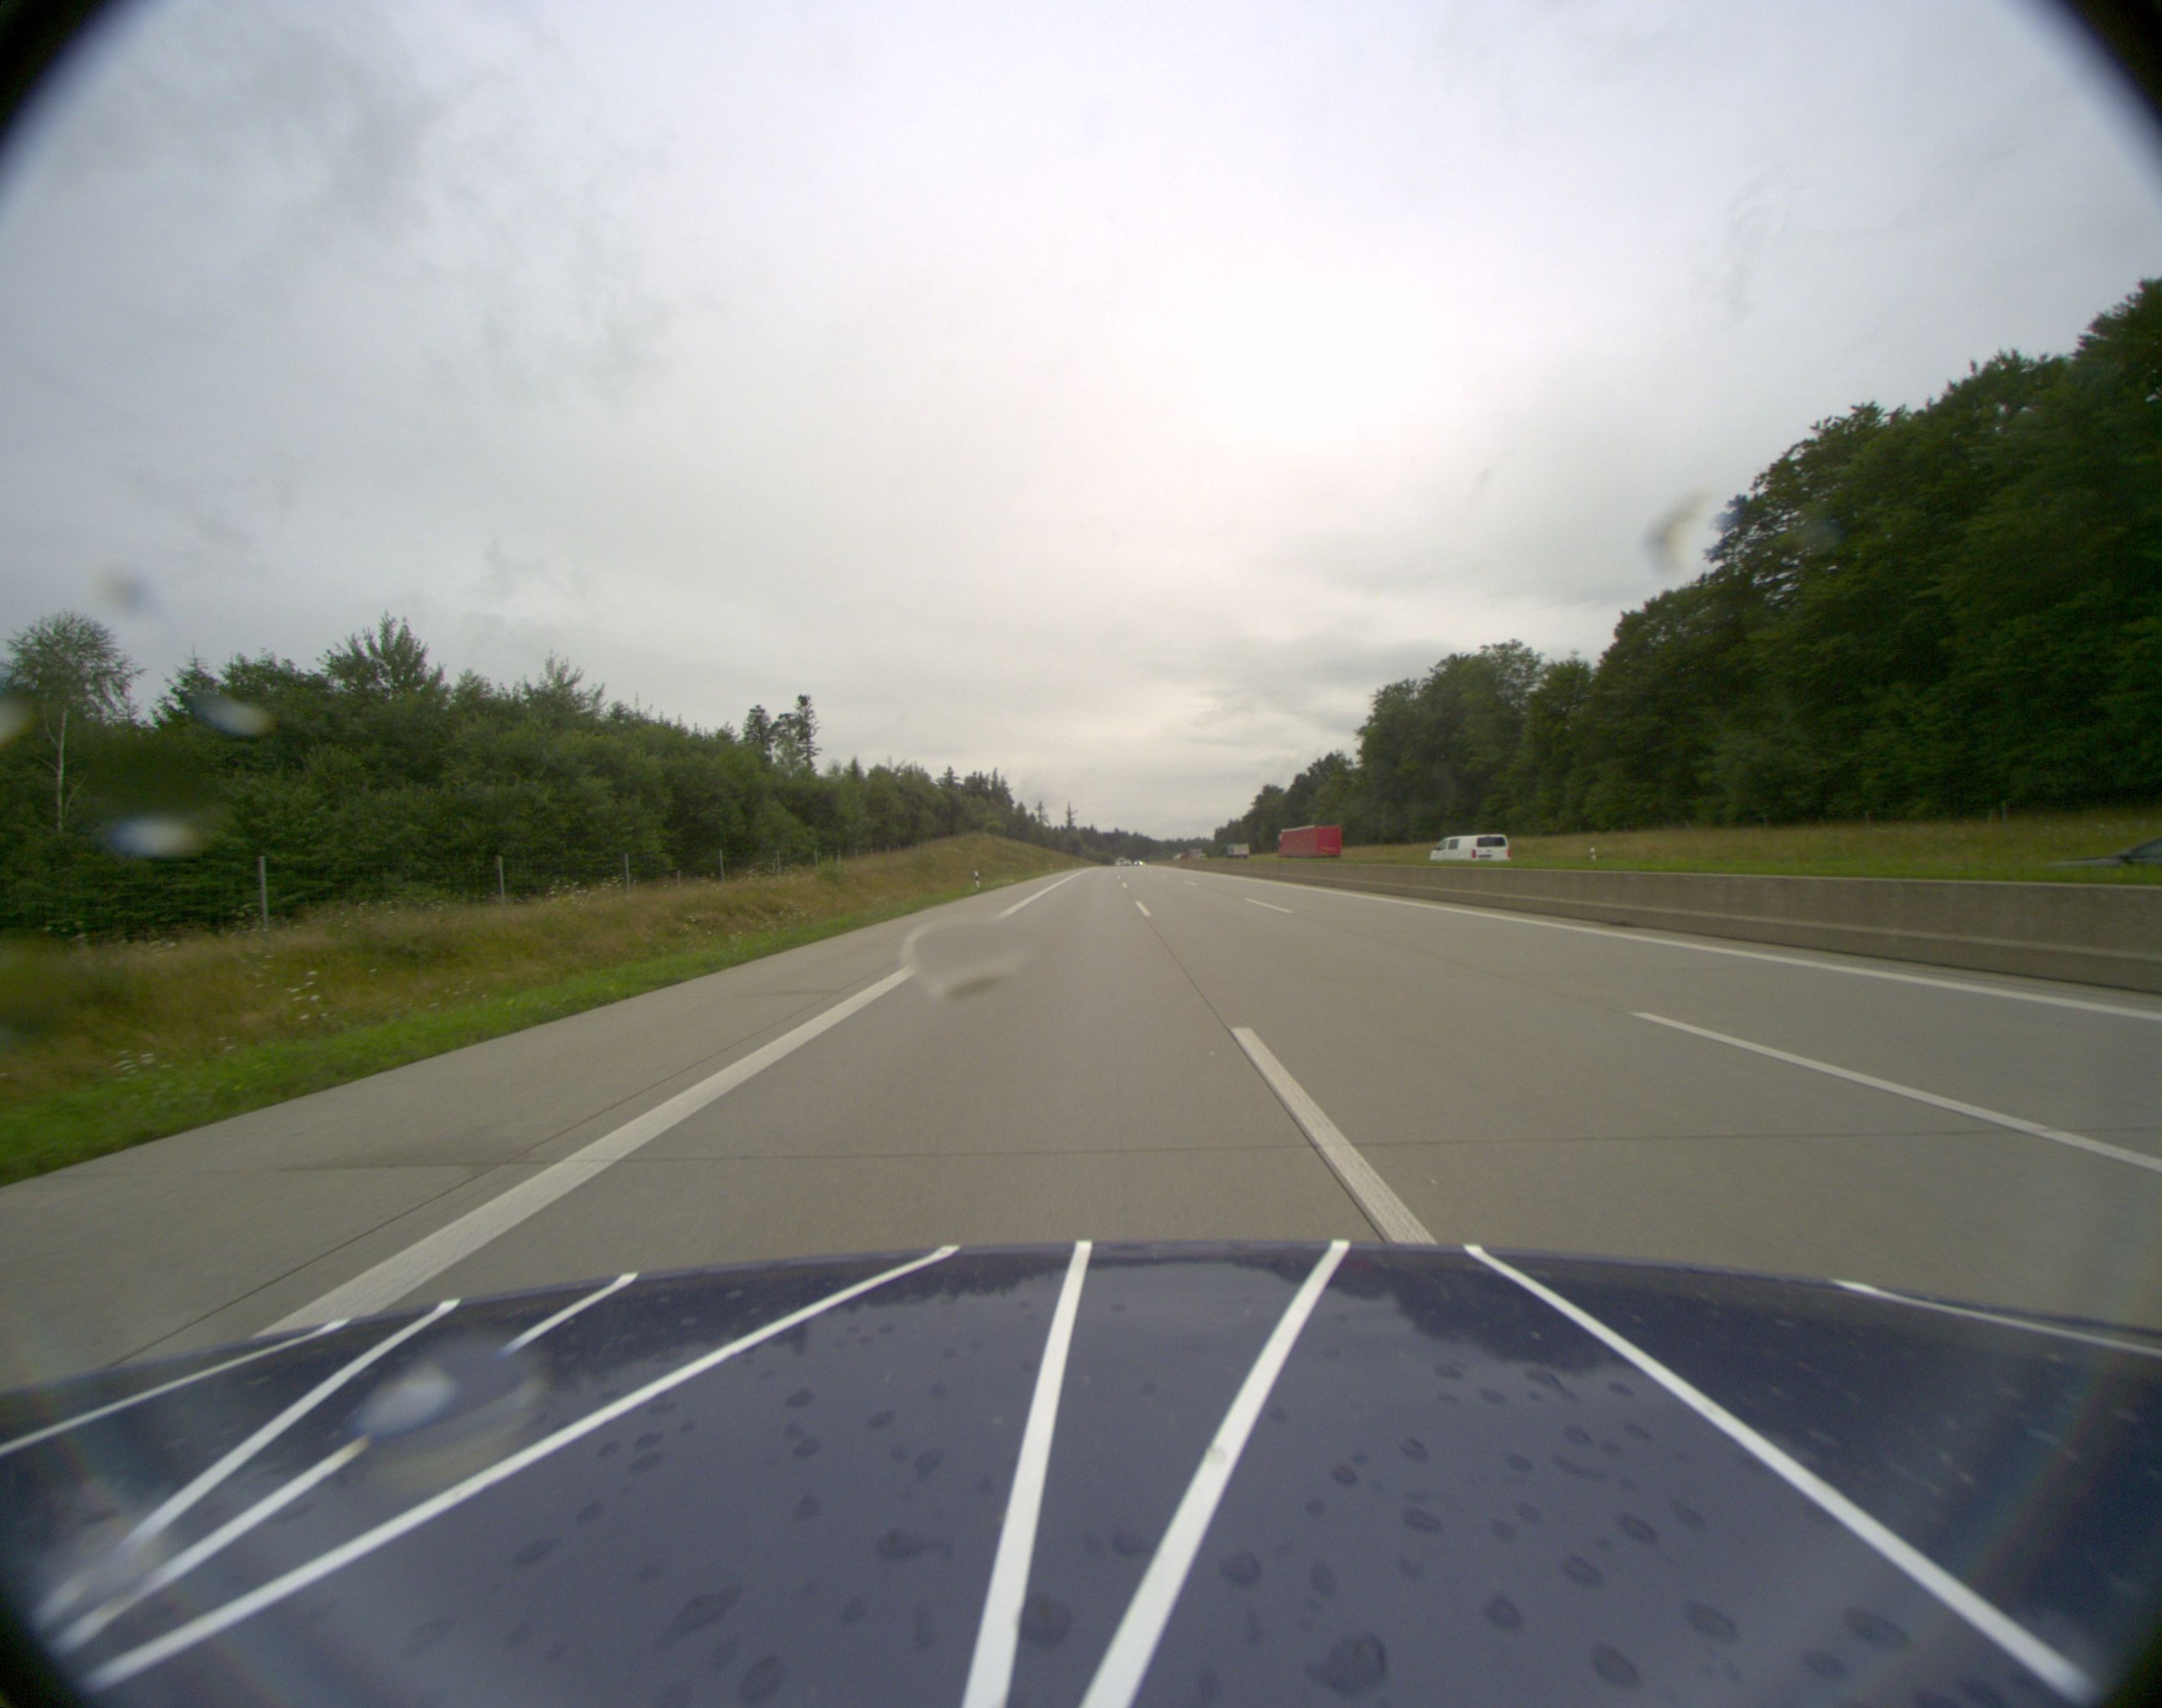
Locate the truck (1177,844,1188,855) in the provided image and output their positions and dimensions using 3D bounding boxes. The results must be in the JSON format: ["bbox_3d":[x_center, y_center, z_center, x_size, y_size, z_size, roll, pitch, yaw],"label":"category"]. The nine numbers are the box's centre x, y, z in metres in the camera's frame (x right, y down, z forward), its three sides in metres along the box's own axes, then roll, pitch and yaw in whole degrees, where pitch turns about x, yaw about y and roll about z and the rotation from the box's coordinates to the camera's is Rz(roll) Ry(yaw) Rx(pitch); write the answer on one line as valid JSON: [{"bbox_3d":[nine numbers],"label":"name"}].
[{"bbox_3d":[27.445,-1.191,205.591,2.273,2.772,6.513,-2,0,4],"label":"truck"}]

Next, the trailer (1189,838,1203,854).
[{"bbox_3d":[32.375,-2.215,214.762,2.503,4.079,13.977,-2,0,3],"label":"trailer"}]

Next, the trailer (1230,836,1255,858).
[{"bbox_3d":[28.466,-1.218,134.235,2.810,3.678,9.014,-2,0,2],"label":"trailer"}]

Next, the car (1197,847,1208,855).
[{"bbox_3d":[25.036,-0.684,156.399,1.784,1.590,4.561,-2,0,3],"label":"car"}]

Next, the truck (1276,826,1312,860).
[{"bbox_3d":[25.587,-1.270,91.581,2.559,3.905,6.948,-2,0,2],"label":"truck"}]

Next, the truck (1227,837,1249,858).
[{"bbox_3d":[28.668,-1.202,138.949,2.787,3.718,5.661,-2,0,2],"label":"truck"}]

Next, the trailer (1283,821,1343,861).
[{"bbox_3d":[25.344,-1.292,83.920,2.614,3.921,14.381,-2,0,2],"label":"trailer"}]

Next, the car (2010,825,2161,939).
[{"bbox_3d":[15.107,0.346,9.298,1.998,1.458,4.492,-2,0,1],"label":"car"}]

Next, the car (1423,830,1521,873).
[{"bbox_3d":[19.523,-0.119,38.299,1.999,1.944,5.626,-2,0,0],"label":"car"}]

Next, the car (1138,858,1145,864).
[{"bbox_3d":[18.438,2.156,232.843,1.764,1.871,4.000,-2,0,1],"label":"car"}]

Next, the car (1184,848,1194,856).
[{"bbox_3d":[27.392,-0.416,192.767,1.998,1.871,5.315,-2,0,4],"label":"car"}]
